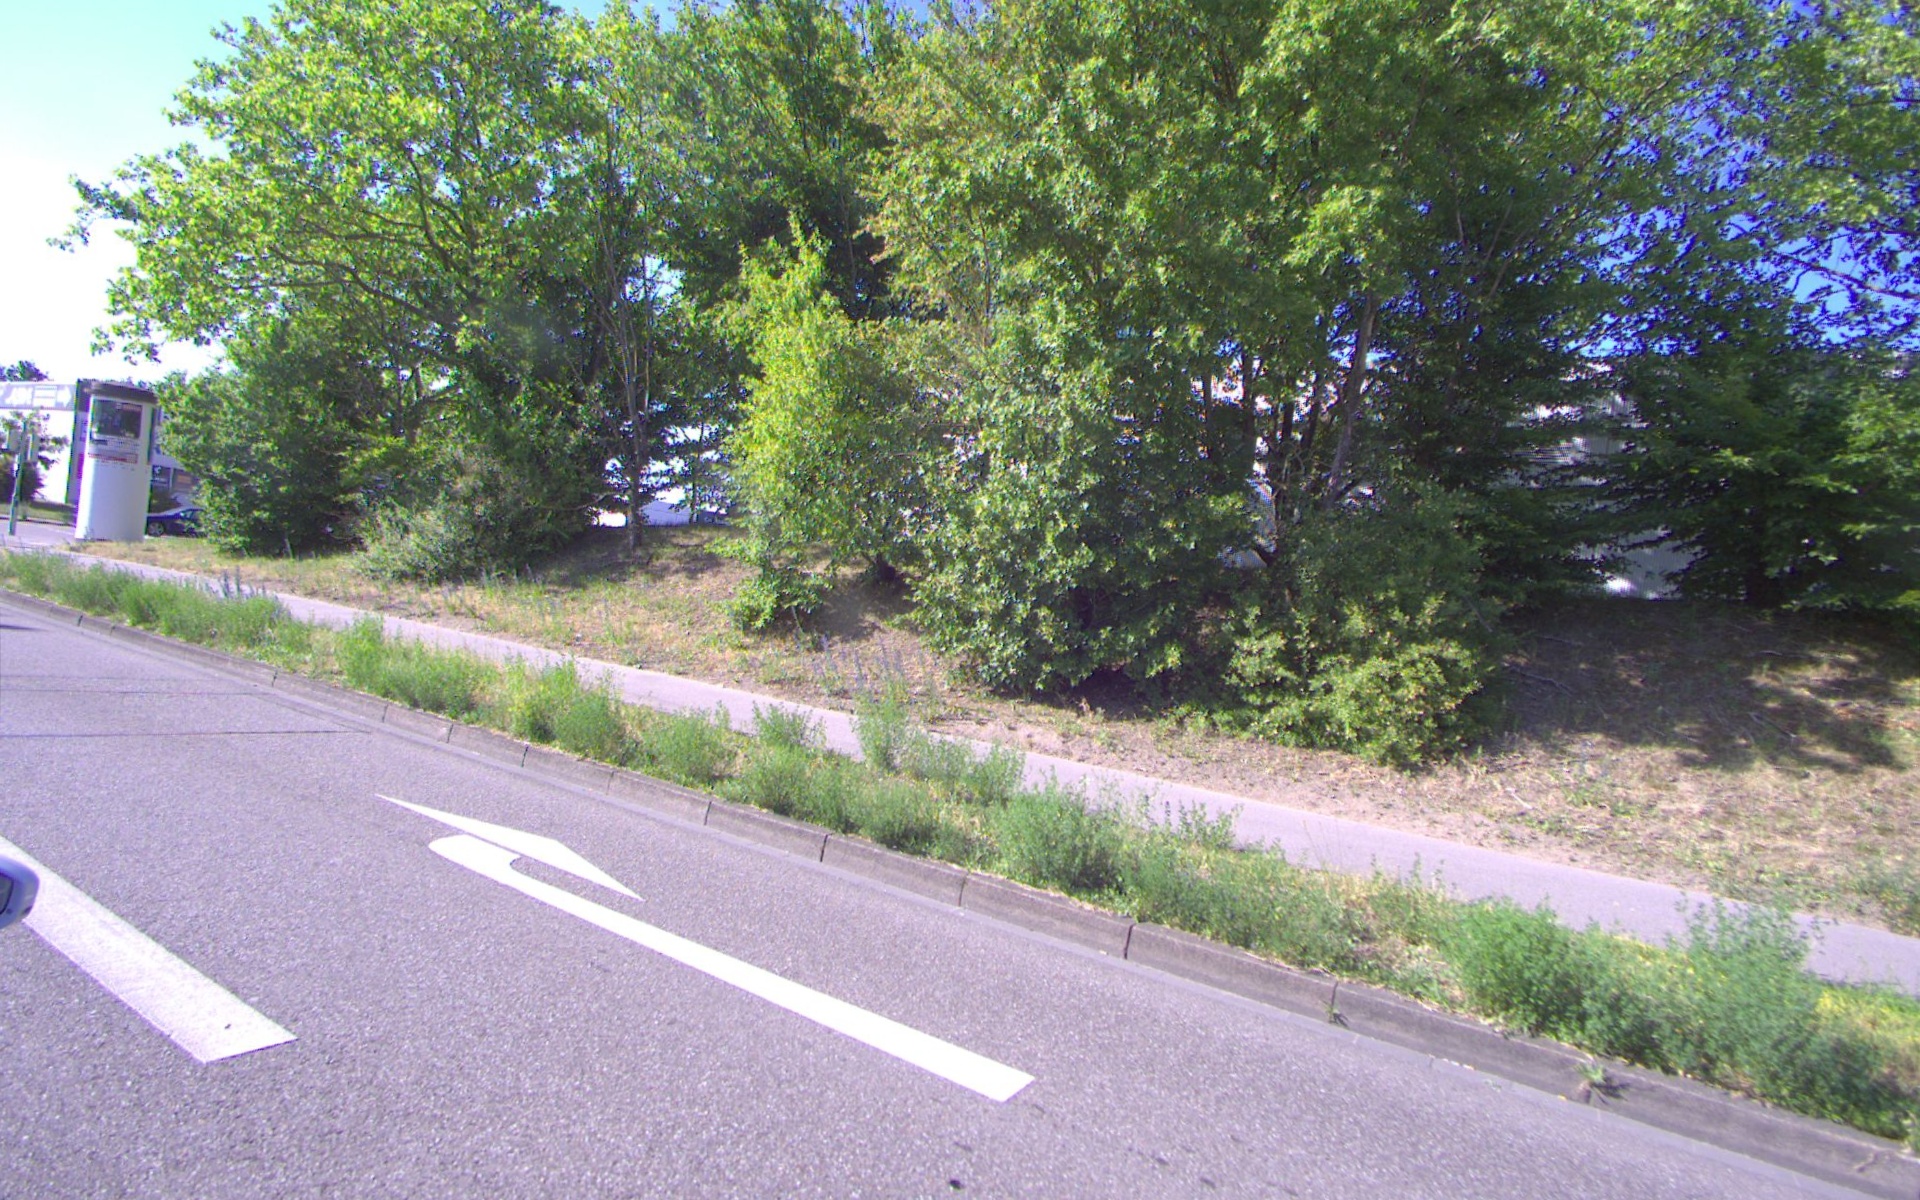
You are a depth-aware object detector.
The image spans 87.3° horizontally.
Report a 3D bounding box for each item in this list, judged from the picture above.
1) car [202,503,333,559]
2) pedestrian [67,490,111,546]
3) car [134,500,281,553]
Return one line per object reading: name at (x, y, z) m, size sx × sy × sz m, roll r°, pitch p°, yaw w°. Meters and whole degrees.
car at (-30.163, -2.968, 43.980) m, size 1.611 × 1.668 × 4.315 m, roll 7°, pitch -2°, yaw 31°
pedestrian at (-28.198, -2.647, 32.564) m, size 0.506 × 1.689 × 0.818 m, roll 7°, pitch -1°, yaw 32°
car at (-33.171, -3.207, 44.494) m, size 1.729 × 1.484 × 4.830 m, roll 7°, pitch -2°, yaw 30°
